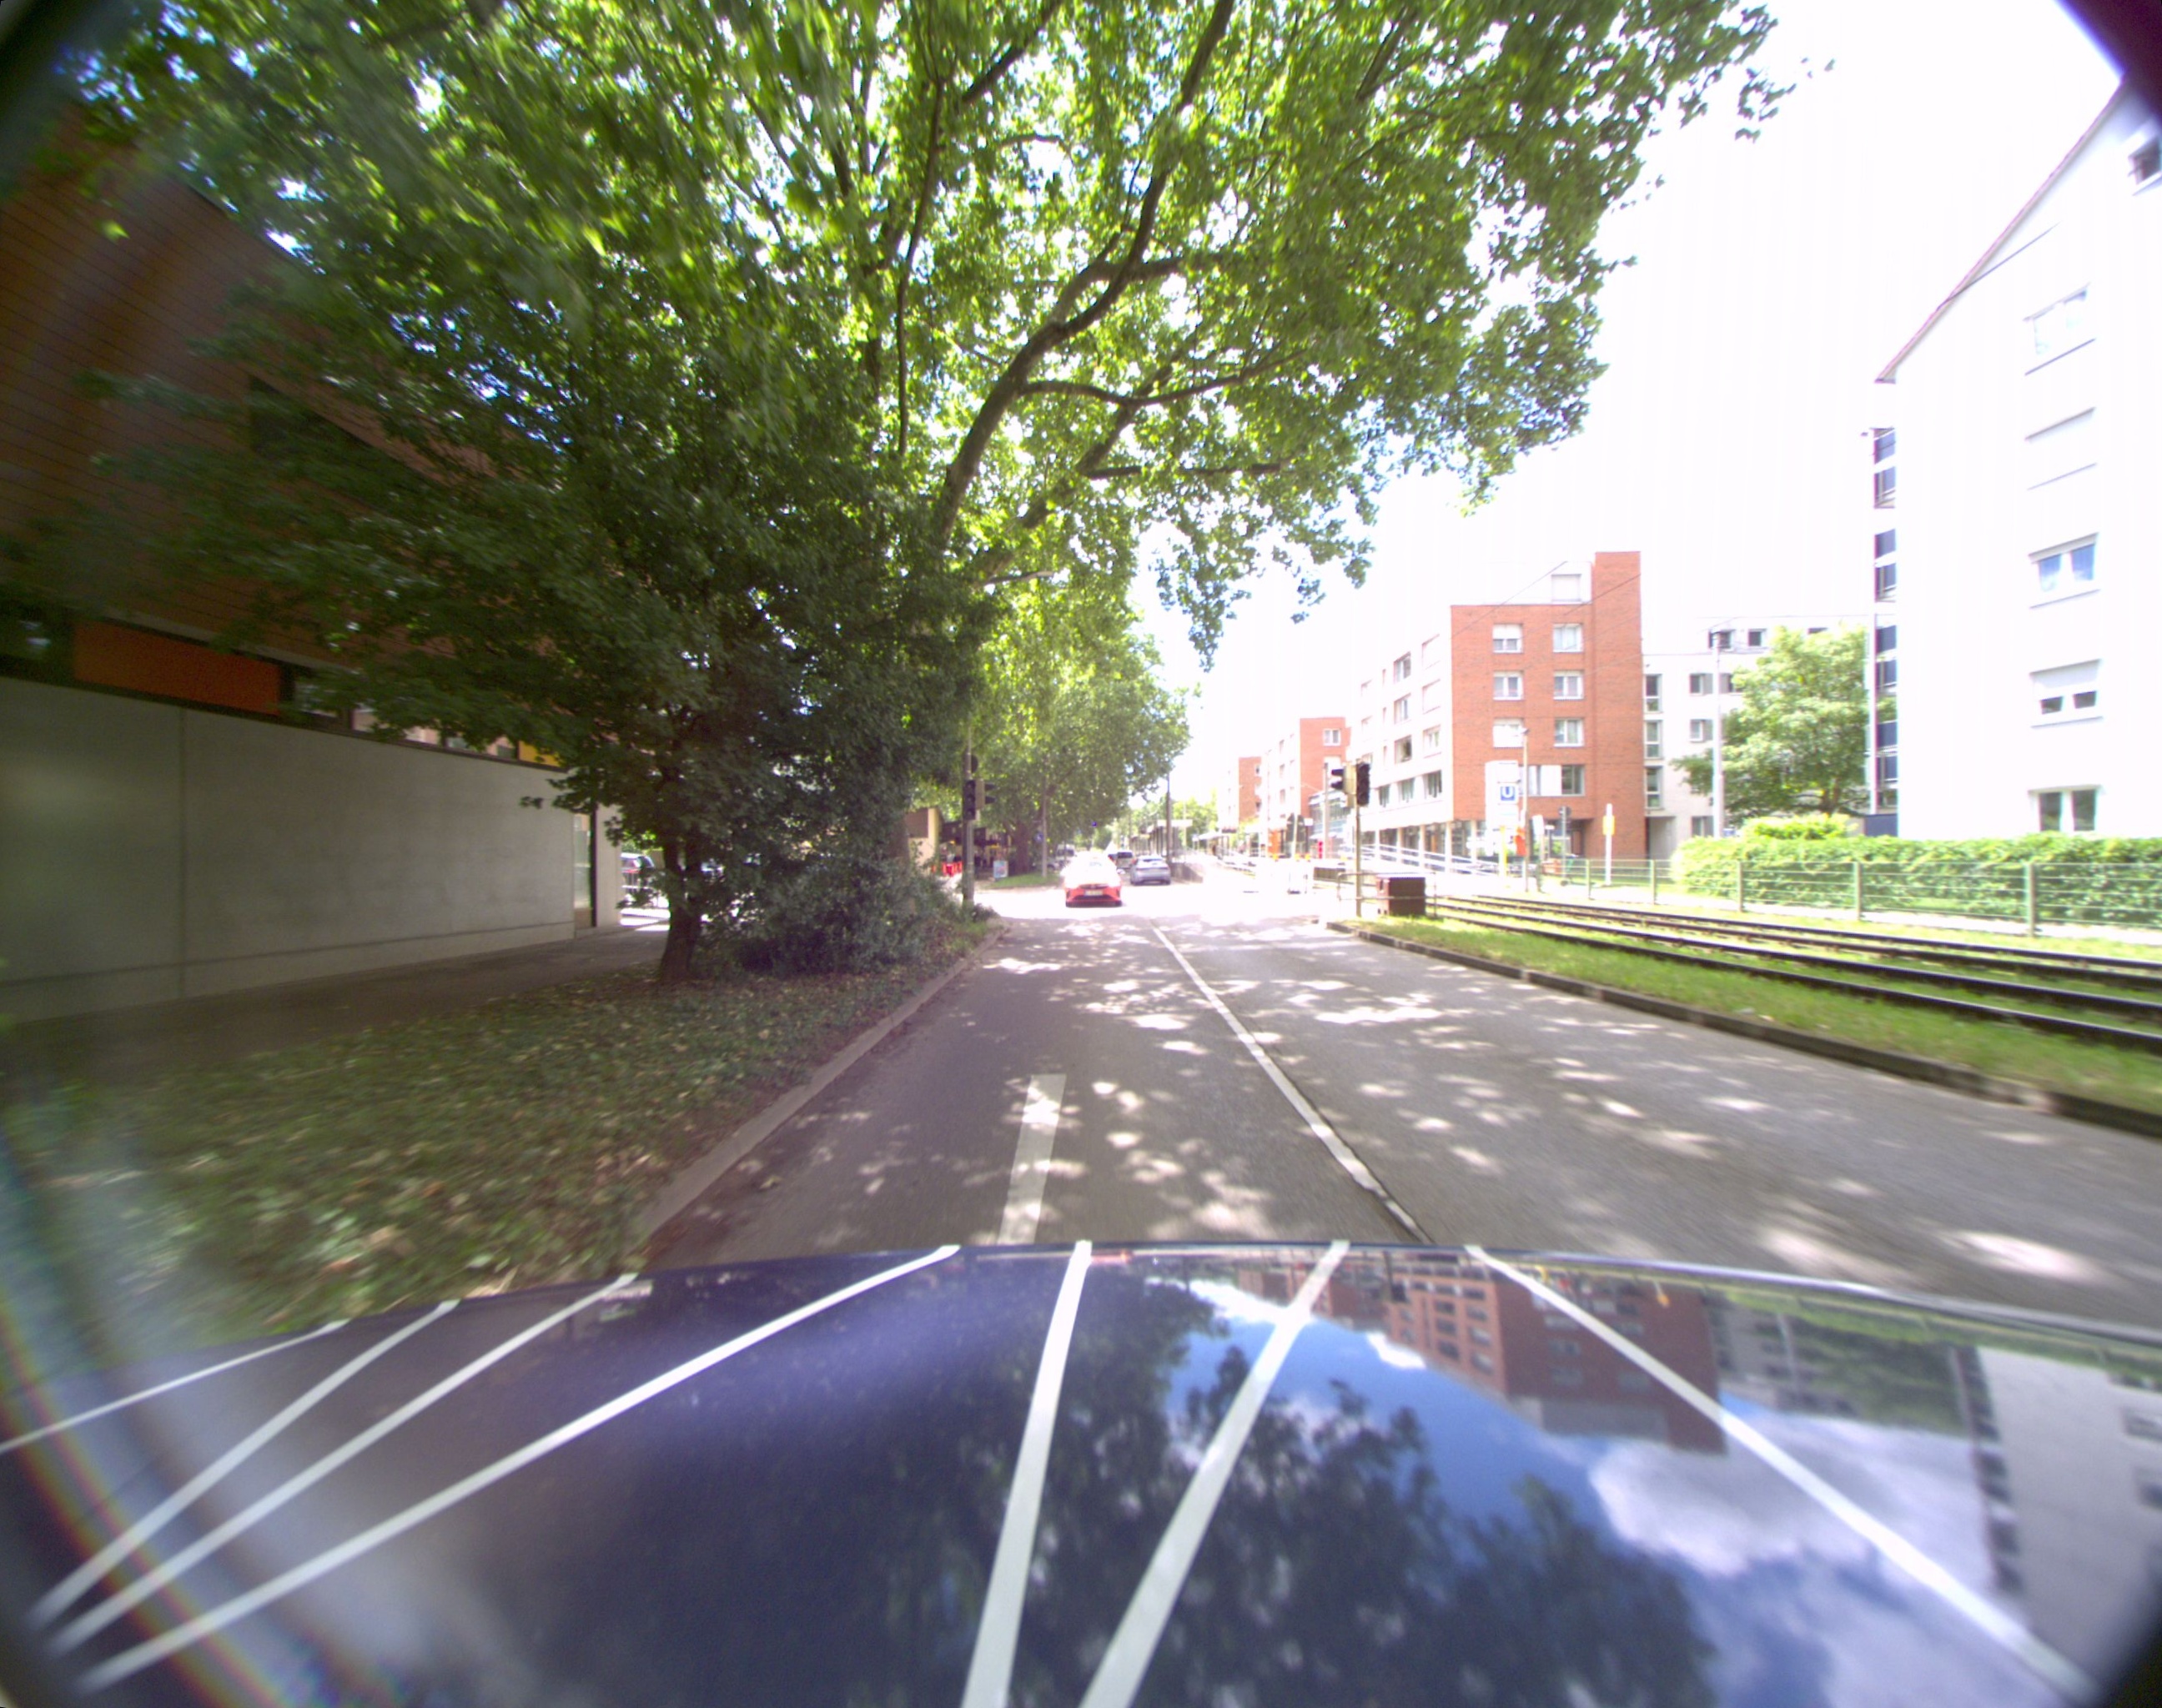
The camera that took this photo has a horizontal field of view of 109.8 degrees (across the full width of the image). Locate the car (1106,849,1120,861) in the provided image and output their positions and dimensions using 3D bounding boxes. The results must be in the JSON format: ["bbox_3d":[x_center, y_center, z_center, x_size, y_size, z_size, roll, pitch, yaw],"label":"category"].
[{"bbox_3d":[4.538,0.156,106.846,1.758,1.624,4.118,-2,0,1],"label":"car"}]

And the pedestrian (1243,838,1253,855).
[{"bbox_3d":[16.261,-0.706,73.921,0.753,1.619,0.816,-2,1,1],"label":"pedestrian"}]

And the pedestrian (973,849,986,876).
[{"bbox_3d":[-6.282,0.532,47.049,0.625,1.666,0.772,0,1,1],"label":"pedestrian"}]

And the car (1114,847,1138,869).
[{"bbox_3d":[3.948,0.383,67.542,1.758,1.829,4.646,-2,0,-1],"label":"car"}]

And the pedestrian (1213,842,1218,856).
[{"bbox_3d":[16.452,-0.577,93.153,0.535,1.753,0.528,0,1,-2],"label":"pedestrian"}]

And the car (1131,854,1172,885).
[{"bbox_3d":[3.460,0.735,37.911,1.640,1.426,3.851,-1,0,-1],"label":"car"}]

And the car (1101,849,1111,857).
[{"bbox_3d":[4.910,-0.225,149.172,1.766,1.472,4.576,-2,0,0],"label":"car"}]

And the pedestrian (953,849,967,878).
[{"bbox_3d":[-7.457,0.575,46.702,0.761,1.715,0.658,1,1,-3],"label":"pedestrian"}]

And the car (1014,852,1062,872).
[{"bbox_3d":[-3.538,0.626,62.457,3.841,1.553,1.619,1,1,-6],"label":"car"}]

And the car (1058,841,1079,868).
[{"bbox_3d":[-1.263,0.050,78.208,1.909,2.566,6.833,1,0,1],"label":"car"}]

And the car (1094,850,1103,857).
[{"bbox_3d":[4.003,-0.090,172.773,1.766,1.472,3.753,-2,0,0],"label":"car"}]

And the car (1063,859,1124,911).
[{"bbox_3d":[0.396,0.887,23.534,1.712,1.439,3.670,-1,0,1],"label":"car"}]

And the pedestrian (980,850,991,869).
[{"bbox_3d":[-8.941,0.503,70.993,0.607,1.791,0.923,-1,2,-45],"label":"pedestrian"}]

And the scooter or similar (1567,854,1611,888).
[{"bbox_3d":[18.858,0.642,28.220,1.299,1.246,0.466,0,0,10],"label":"scooter or similar"}]
